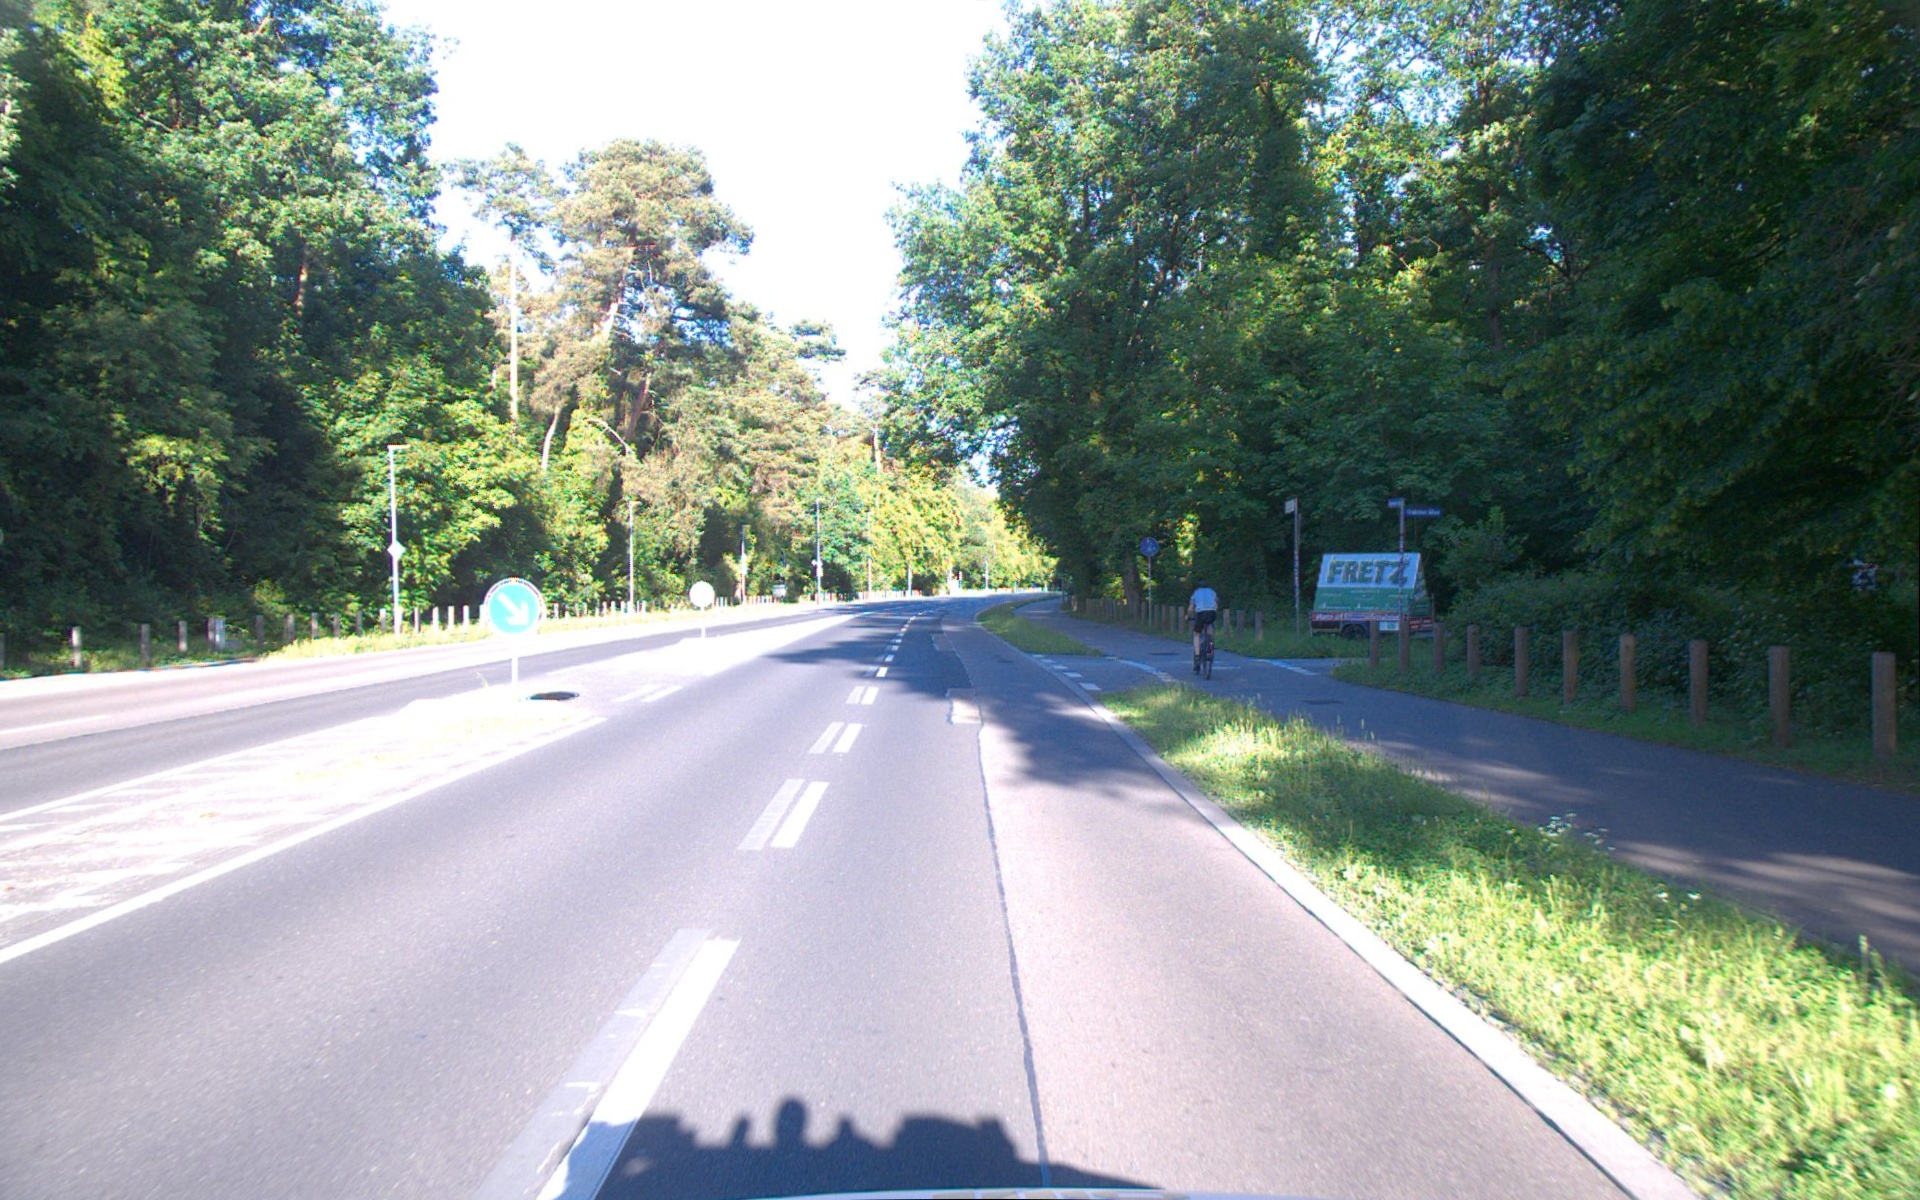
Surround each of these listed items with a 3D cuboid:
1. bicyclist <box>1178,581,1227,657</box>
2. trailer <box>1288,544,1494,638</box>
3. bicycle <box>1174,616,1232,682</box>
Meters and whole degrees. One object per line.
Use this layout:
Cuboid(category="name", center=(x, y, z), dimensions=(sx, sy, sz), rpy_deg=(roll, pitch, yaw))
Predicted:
Cuboid(category="bicyclist", center=(4.258, 0.324, 29.079), dimensions=(0.697, 1.311, 1.104), rpy_deg=(0, 0, -1))
Cuboid(category="trailer", center=(9.902, -0.188, 38.149), dimensions=(4.148, 2.057, 1.990), rpy_deg=(-1, 0, 40))
Cuboid(category="bicycle", center=(4.254, 0.845, 29.107), dimensions=(0.697, 1.074, 2.053), rpy_deg=(0, 0, -1))
